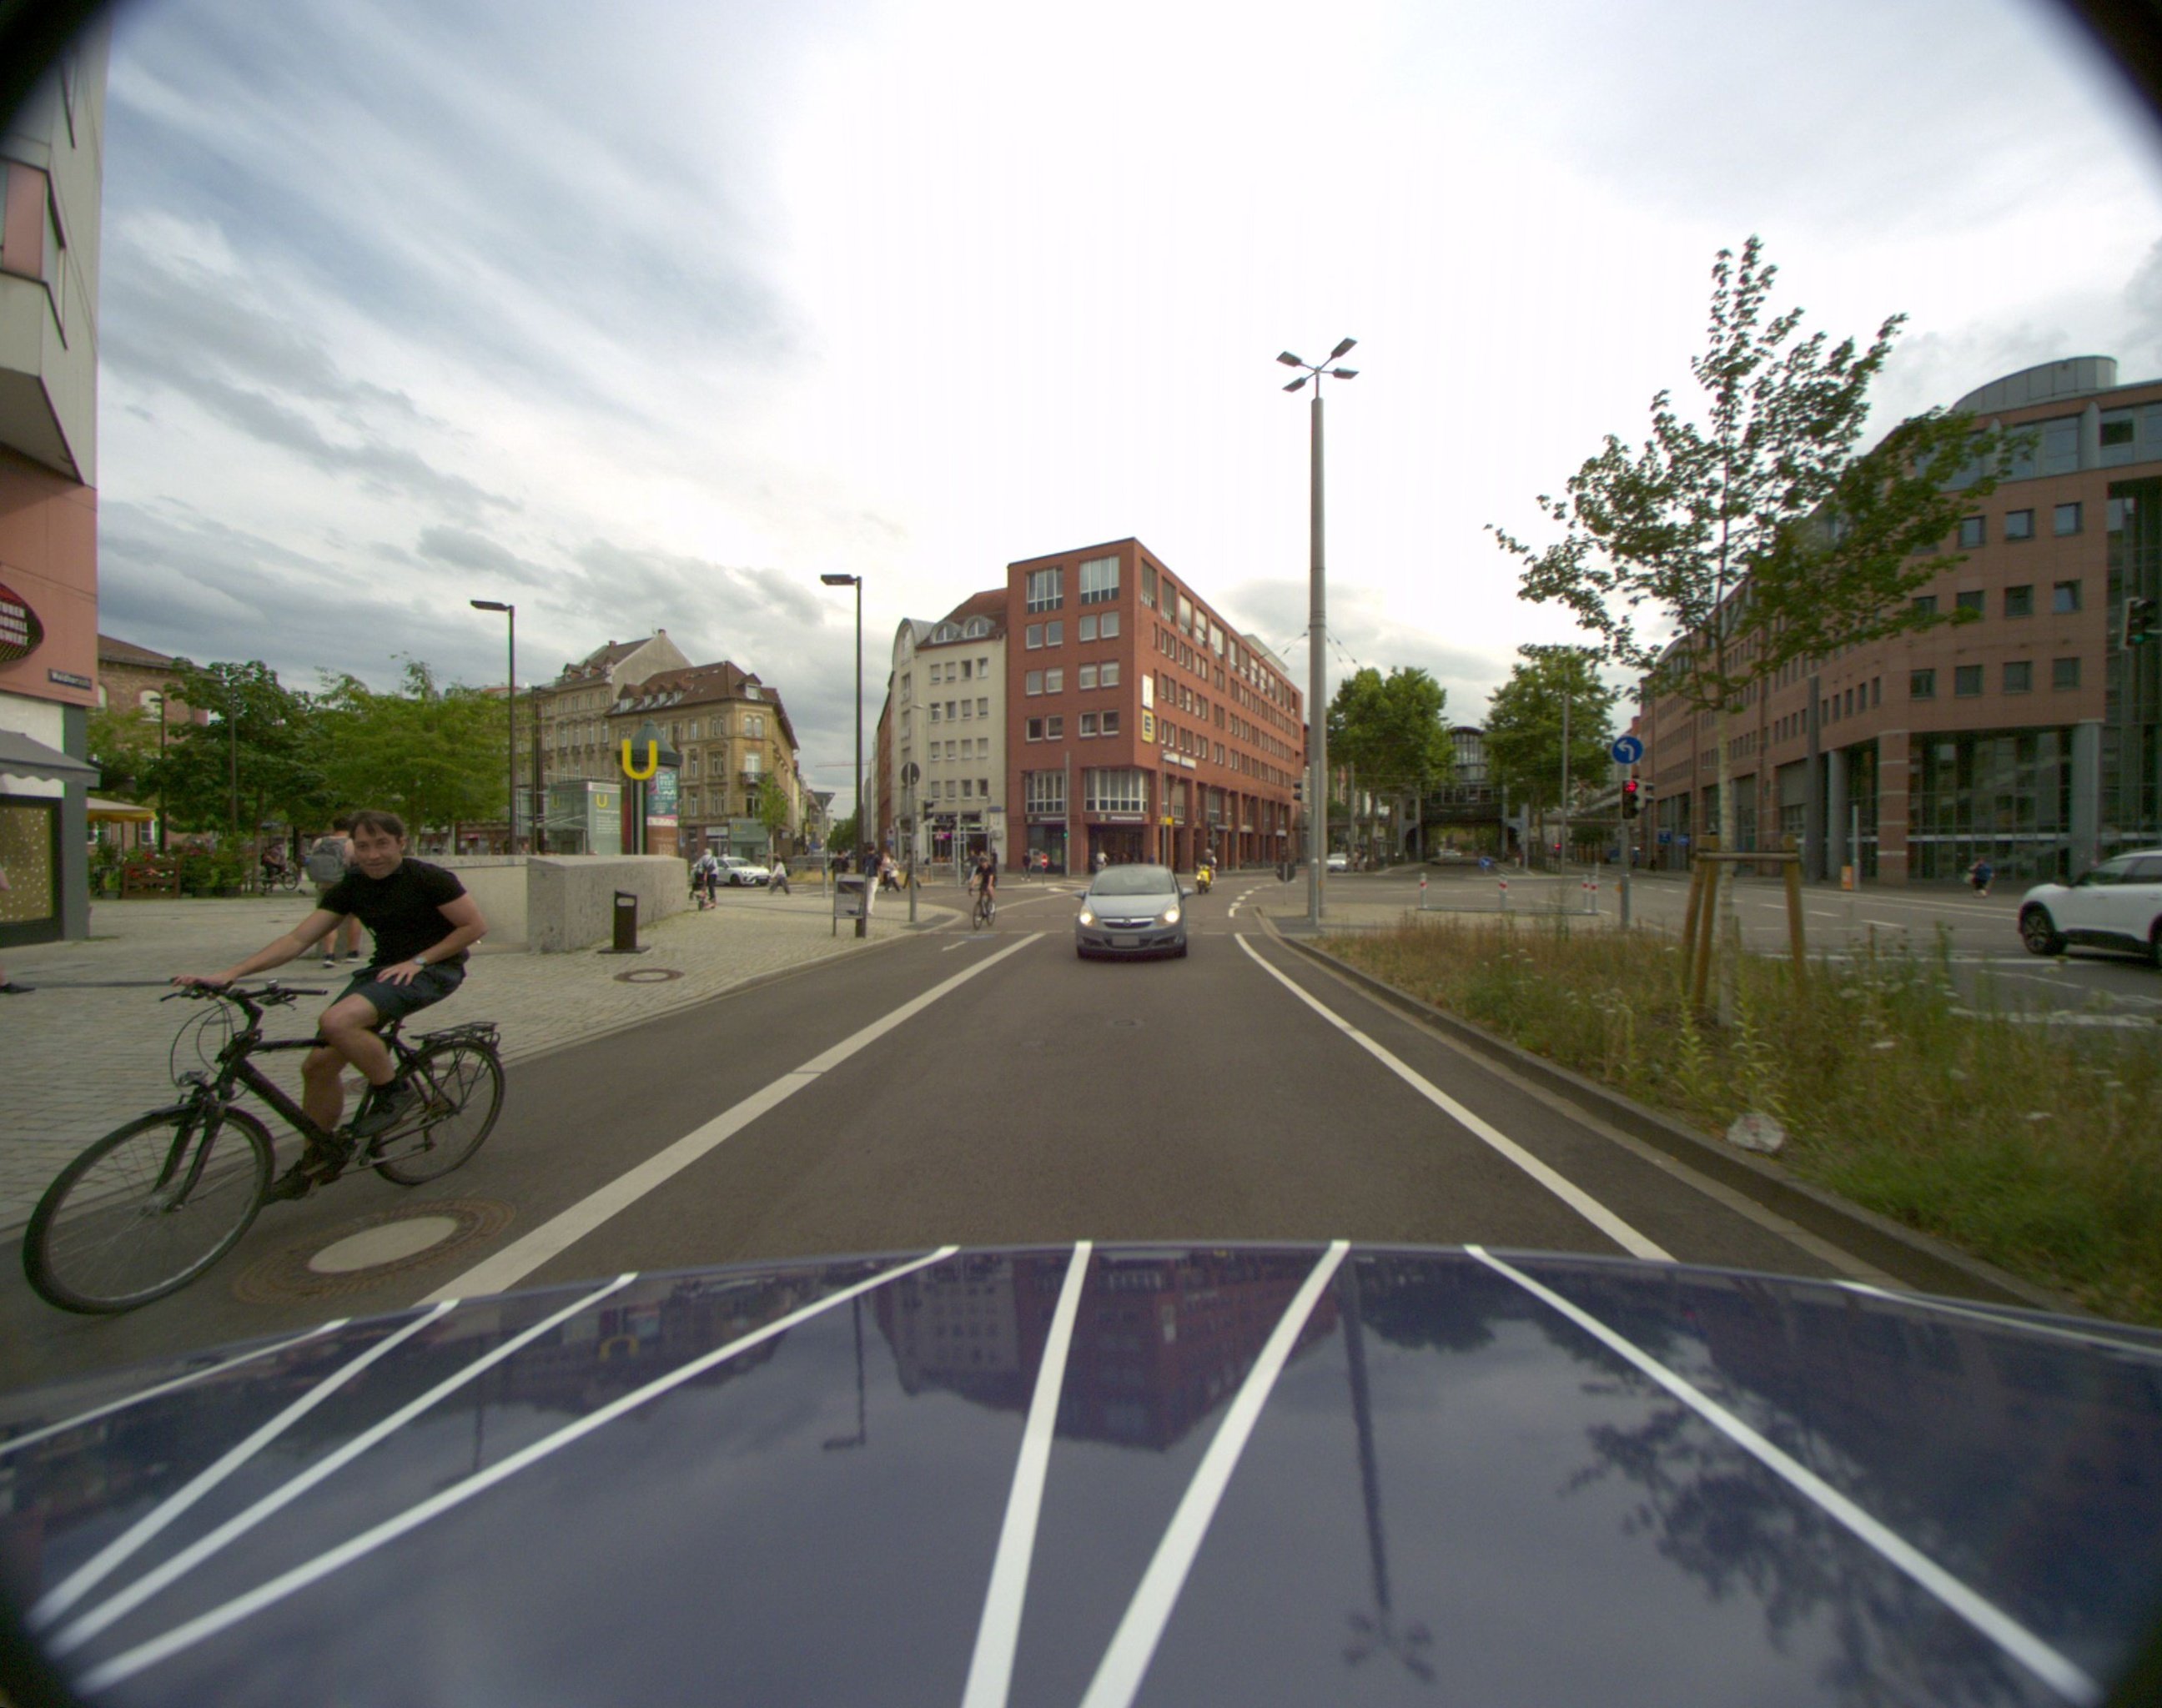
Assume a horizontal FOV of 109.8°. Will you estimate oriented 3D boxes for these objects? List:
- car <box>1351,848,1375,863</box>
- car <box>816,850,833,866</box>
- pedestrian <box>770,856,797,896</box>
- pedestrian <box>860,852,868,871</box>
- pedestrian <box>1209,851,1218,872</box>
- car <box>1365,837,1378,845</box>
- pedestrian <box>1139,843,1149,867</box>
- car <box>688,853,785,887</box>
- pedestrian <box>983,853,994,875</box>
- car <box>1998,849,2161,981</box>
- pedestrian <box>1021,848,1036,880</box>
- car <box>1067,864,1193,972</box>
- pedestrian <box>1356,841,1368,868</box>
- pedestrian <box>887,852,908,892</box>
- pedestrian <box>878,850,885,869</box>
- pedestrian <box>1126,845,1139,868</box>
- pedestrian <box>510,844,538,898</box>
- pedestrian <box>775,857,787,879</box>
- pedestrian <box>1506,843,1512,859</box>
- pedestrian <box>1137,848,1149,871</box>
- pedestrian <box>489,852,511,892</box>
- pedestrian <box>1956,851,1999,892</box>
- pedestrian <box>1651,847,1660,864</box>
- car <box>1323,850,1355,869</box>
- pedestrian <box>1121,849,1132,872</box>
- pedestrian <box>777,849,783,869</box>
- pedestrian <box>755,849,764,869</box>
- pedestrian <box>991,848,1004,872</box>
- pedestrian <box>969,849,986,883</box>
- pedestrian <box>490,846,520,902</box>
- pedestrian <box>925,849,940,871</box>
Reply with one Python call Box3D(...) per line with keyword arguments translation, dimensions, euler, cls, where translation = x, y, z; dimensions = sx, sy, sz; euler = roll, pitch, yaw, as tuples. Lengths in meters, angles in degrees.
Box3D(translation=(31.086, 0.186, 83.617), dimensions=(1.953, 1.592, 4.007), euler=(0, 1, 28), cls="car")
Box3D(translation=(-26.438, 0.397, 78.327), dimensions=(1.697, 1.577, 3.654), euler=(0, 1, -19), cls="car")
Box3D(translation=(-11.411, 0.817, 29.173), dimensions=(0.552, 1.492, 0.848), euler=(0, 2, 12), cls="pedestrian")
Box3D(translation=(-19.685, 0.669, 68.909), dimensions=(0.592, 1.712, 0.519), euler=(0, 1, -24), cls="pedestrian")
Box3D(translation=(10.765, 0.599, 61.619), dimensions=(0.406, 1.622, 0.733), euler=(3, 2, 35), cls="pedestrian")
Box3D(translation=(58.624, -2.620, 153.183), dimensions=(1.953, 1.592, 4.008), euler=(0, 0, 28), cls="car")
Box3D(translation=(4.630, 0.071, 55.568), dimensions=(0.541, 1.787, 0.562), euler=(1, 0, 28), cls="pedestrian")
Box3D(translation=(-17.175, 0.764, 37.892), dimensions=(4.590, 1.503, 2.003), euler=(1, 2, 28), cls="car")
Box3D(translation=(-6.369, 0.667, 52.371), dimensions=(0.594, 1.502, 0.628), euler=(0, 0, -25), cls="pedestrian")
Box3D(translation=(15.026, 0.766, 10.265), dimensions=(1.833, 1.650, 4.332), euler=(0, 1, 28), cls="car")
Box3D(translation=(-2.976, 0.562, 43.114), dimensions=(0.568, 1.813, 0.697), euler=(1, 0, 27), cls="pedestrian")
Box3D(translation=(0.895, 0.931, 12.656), dimensions=(1.722, 1.394, 4.001), euler=(-2, 0, 6), cls="car")
Box3D(translation=(20.053, 0.035, 54.285), dimensions=(0.692, 1.864, 0.808), euler=(1, 0, 28), cls="pedestrian")
Box3D(translation=(-7.742, 0.760, 32.064), dimensions=(0.469, 1.676, 0.797), euler=(0, 1, 23), cls="pedestrian")
Box3D(translation=(-18.240, 0.518, 69.438), dimensions=(0.542, 1.712, 0.519), euler=(0, 1, -27), cls="pedestrian")
Box3D(translation=(3.903, 0.157, 57.568), dimensions=(0.647, 1.704, 1.058), euler=(0, 1, 28), cls="pedestrian")
Box3D(translation=(-19.236, 0.589, 26.238), dimensions=(0.489, 1.856, 0.586), euler=(1, -1, 23), cls="pedestrian")
Box3D(translation=(-23.985, 1.098, 60.779), dimensions=(0.606, 1.675, 0.731), euler=(-4, 3, -39), cls="pedestrian")
Box3D(translation=(47.037, -0.350, 83.462), dimensions=(0.481, 1.761, 0.482), euler=(0, 1, 21), cls="pedestrian")
Box3D(translation=(4.682, 0.407, 57.493), dimensions=(0.647, 1.679, 0.652), euler=(0, 2, 28), cls="pedestrian")
Box3D(translation=(-23.771, 0.722, 31.090), dimensions=(0.676, 1.631, 0.440), euler=(0, 1, 28), cls="pedestrian")
Box3D(translation=(32.390, 0.623, 27.478), dimensions=(0.797, 1.464, 0.686), euler=(0, 0, 28), cls="pedestrian")
Box3D(translation=(52.632, 0.146, 69.625), dimensions=(0.528, 1.564, 0.602), euler=(1, 1, 28), cls="pedestrian")
Box3D(translation=(22.409, 0.433, 65.985), dimensions=(1.953, 1.592, 4.008), euler=(0, 0, 28), cls="car")
Box3D(translation=(3.347, 0.461, 55.887), dimensions=(0.541, 1.642, 0.894), euler=(1, 0, 28), cls="pedestrian")
Box3D(translation=(-25.502, 0.425, 64.402), dimensions=(0.425, 1.675, 0.514), euler=(0, 0, -29), cls="pedestrian")
Box3D(translation=(-26.500, 0.405, 62.667), dimensions=(0.423, 1.675, 0.516), euler=(1, 0, 29), cls="pedestrian")
Box3D(translation=(-5.771, 0.414, 52.630), dimensions=(0.708, 1.638, 0.720), euler=(0, 0, -25), cls="pedestrian")
Box3D(translation=(-5.153, 0.587, 37.847), dimensions=(0.520, 1.676, 0.727), euler=(1, 0, 28), cls="pedestrian")
Box3D(translation=(-19.424, 0.683, 25.631), dimensions=(0.547, 1.856, 0.586), euler=(1, -1, 23), cls="pedestrian")
Box3D(translation=(-11.003, 0.426, 56.221), dimensions=(0.791, 1.617, 0.718), euler=(0, 0, 26), cls="pedestrian")
